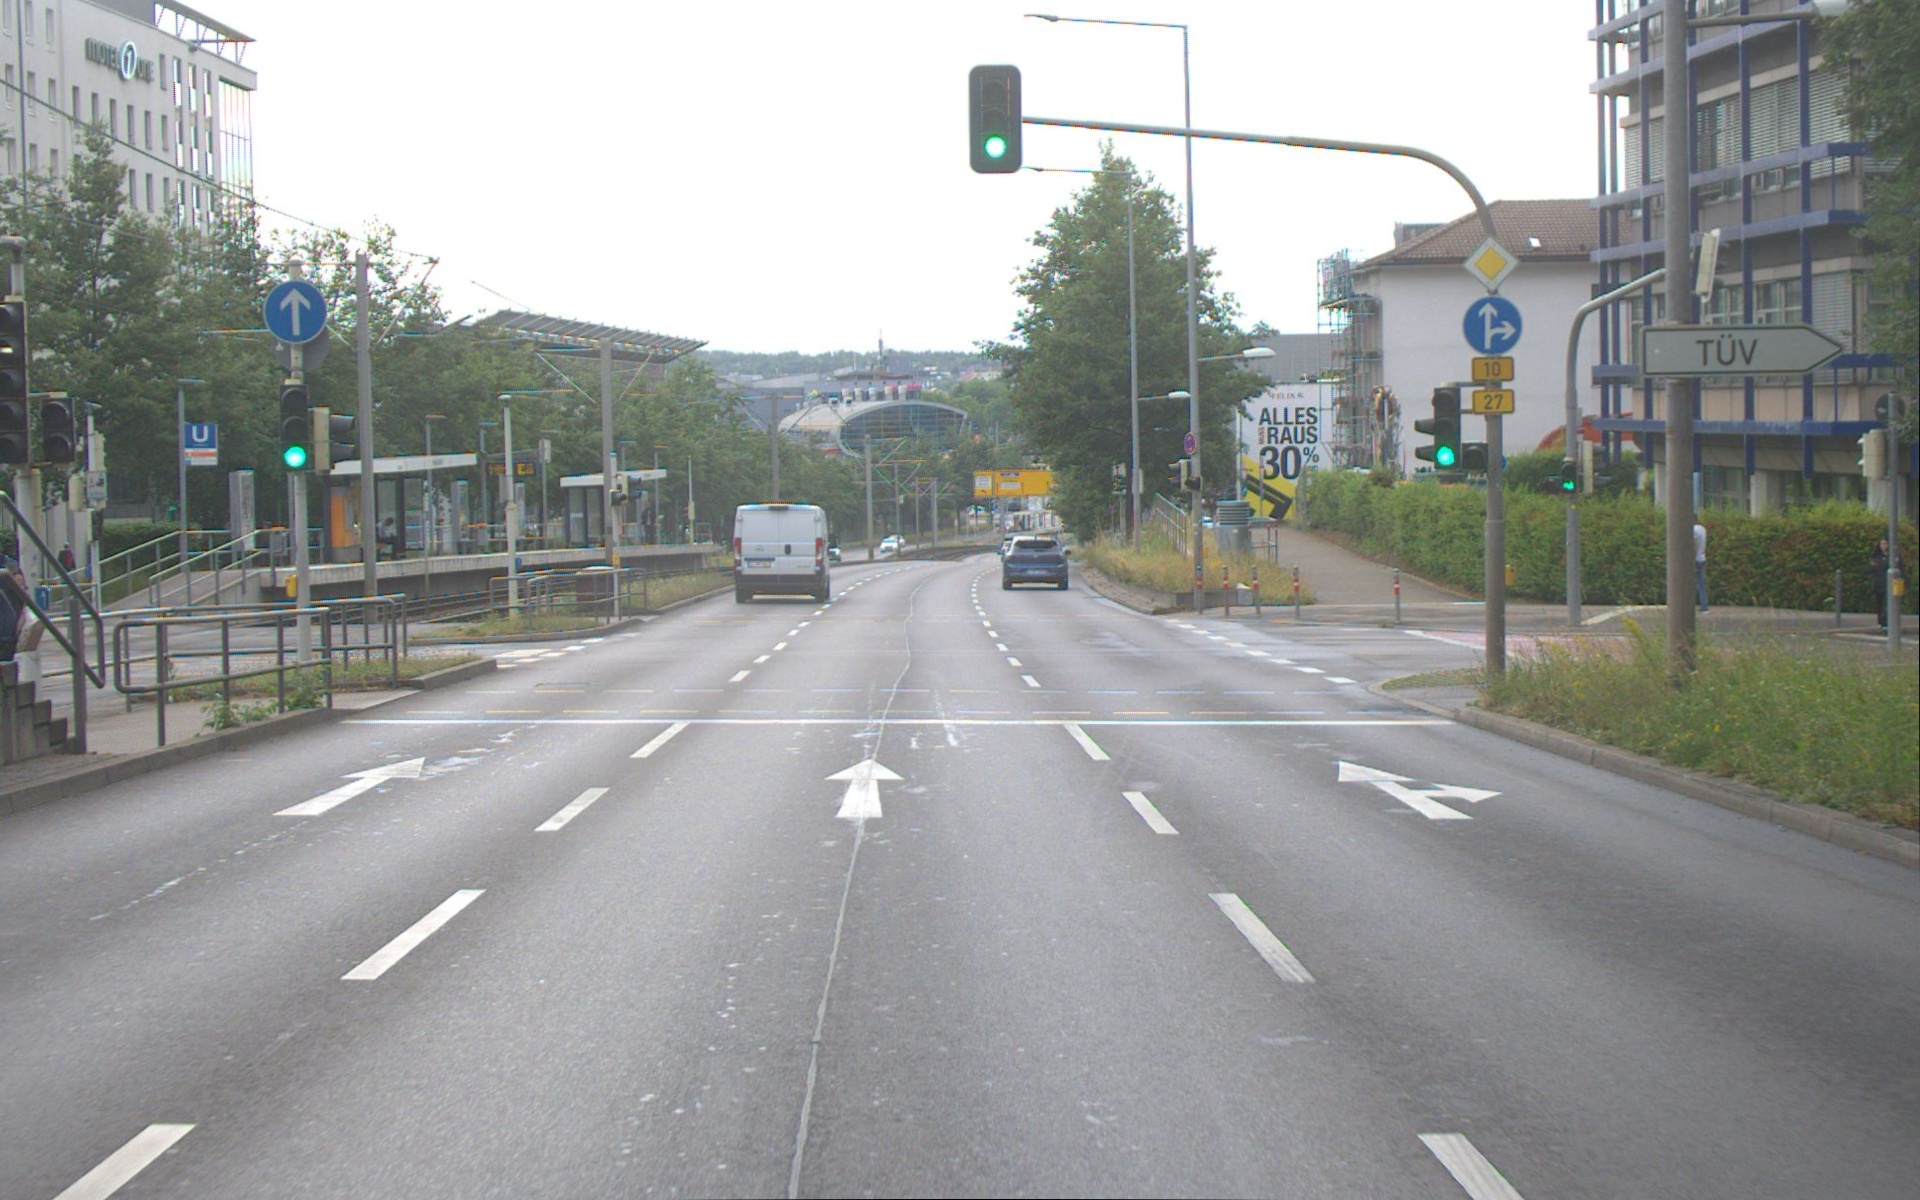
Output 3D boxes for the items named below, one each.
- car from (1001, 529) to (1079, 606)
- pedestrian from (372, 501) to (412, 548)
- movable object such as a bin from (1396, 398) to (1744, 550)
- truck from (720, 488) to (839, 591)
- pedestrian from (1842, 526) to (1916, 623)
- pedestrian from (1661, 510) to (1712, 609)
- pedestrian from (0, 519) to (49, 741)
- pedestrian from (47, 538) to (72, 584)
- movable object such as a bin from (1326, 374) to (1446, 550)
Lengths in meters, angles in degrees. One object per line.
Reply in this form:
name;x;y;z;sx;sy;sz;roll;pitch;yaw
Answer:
car;2.201;-0.875;93.323;1.994;2.007;3.934;1;1;3
pedestrian;-15.924;-2.113;96.413;0.961;1.295;0.684;-1;1;1
movable object such as a bin;22.509;-4.617;127.432;12.141;5.243;3.789;-1;0;0
truck;-4.121;-1.384;79.390;2.360;2.254;5.306;1;1;1
pedestrian;14.736;-0.409;55.130;0.903;1.536;0.798;0;1;38
pedestrian;12.289;-0.685;58.158;0.554;1.646;0.832;-1;1;-10
pedestrian;-7.281;0.215;25.833;0.700;1.645;0.649;0;1;-29
pedestrian;-31.081;-1.331;118.619;0.600;1.572;0.835;1;0;2
movable object such as a bin;14.366;-4.567;116.634;3.290;5.665;8.763;1;1;3
